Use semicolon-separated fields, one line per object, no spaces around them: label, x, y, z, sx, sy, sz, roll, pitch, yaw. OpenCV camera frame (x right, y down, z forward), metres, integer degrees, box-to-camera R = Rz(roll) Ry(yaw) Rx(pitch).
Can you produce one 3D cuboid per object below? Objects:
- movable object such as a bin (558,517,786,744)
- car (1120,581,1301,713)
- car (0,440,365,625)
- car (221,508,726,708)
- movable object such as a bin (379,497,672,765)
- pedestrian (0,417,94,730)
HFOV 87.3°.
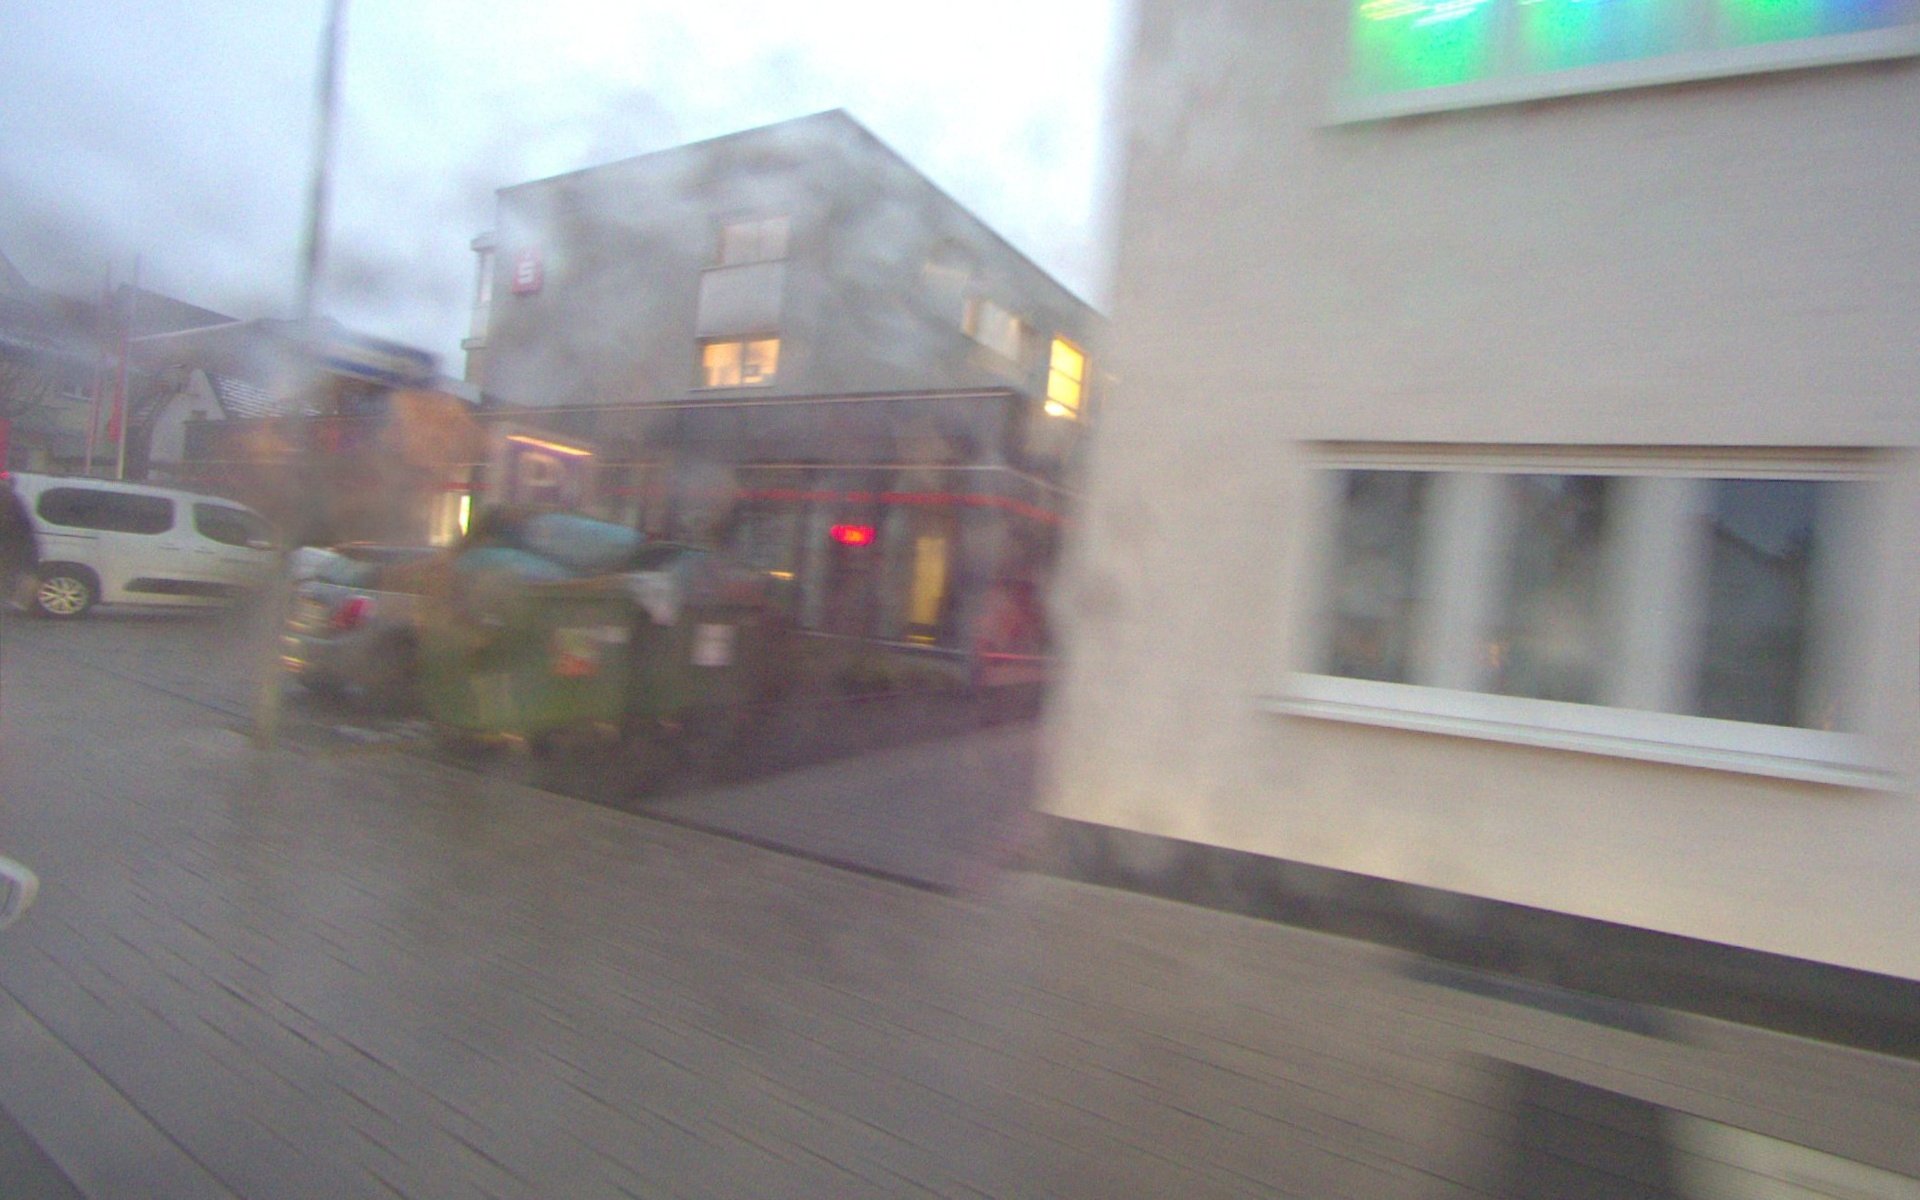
movable object such as a bin;-2.404;0.231;8.497;1.165;1.666;1.286;7;2;28
car;4.092;0.677;15.964;1.965;1.696;3.993;4;1;25
car;-11.070;-0.849;14.200;1.971;2.076;4.085;7;1;39
car;-4.491;0.148;9.876;1.882;1.504;3.989;5;-1;34
movable object such as a bin;-3.128;0.196;7.340;1.240;1.666;1.394;7;2;29
pedestrian;-6.334;-0.200;6.335;0.989;1.914;0.967;6;2;29
